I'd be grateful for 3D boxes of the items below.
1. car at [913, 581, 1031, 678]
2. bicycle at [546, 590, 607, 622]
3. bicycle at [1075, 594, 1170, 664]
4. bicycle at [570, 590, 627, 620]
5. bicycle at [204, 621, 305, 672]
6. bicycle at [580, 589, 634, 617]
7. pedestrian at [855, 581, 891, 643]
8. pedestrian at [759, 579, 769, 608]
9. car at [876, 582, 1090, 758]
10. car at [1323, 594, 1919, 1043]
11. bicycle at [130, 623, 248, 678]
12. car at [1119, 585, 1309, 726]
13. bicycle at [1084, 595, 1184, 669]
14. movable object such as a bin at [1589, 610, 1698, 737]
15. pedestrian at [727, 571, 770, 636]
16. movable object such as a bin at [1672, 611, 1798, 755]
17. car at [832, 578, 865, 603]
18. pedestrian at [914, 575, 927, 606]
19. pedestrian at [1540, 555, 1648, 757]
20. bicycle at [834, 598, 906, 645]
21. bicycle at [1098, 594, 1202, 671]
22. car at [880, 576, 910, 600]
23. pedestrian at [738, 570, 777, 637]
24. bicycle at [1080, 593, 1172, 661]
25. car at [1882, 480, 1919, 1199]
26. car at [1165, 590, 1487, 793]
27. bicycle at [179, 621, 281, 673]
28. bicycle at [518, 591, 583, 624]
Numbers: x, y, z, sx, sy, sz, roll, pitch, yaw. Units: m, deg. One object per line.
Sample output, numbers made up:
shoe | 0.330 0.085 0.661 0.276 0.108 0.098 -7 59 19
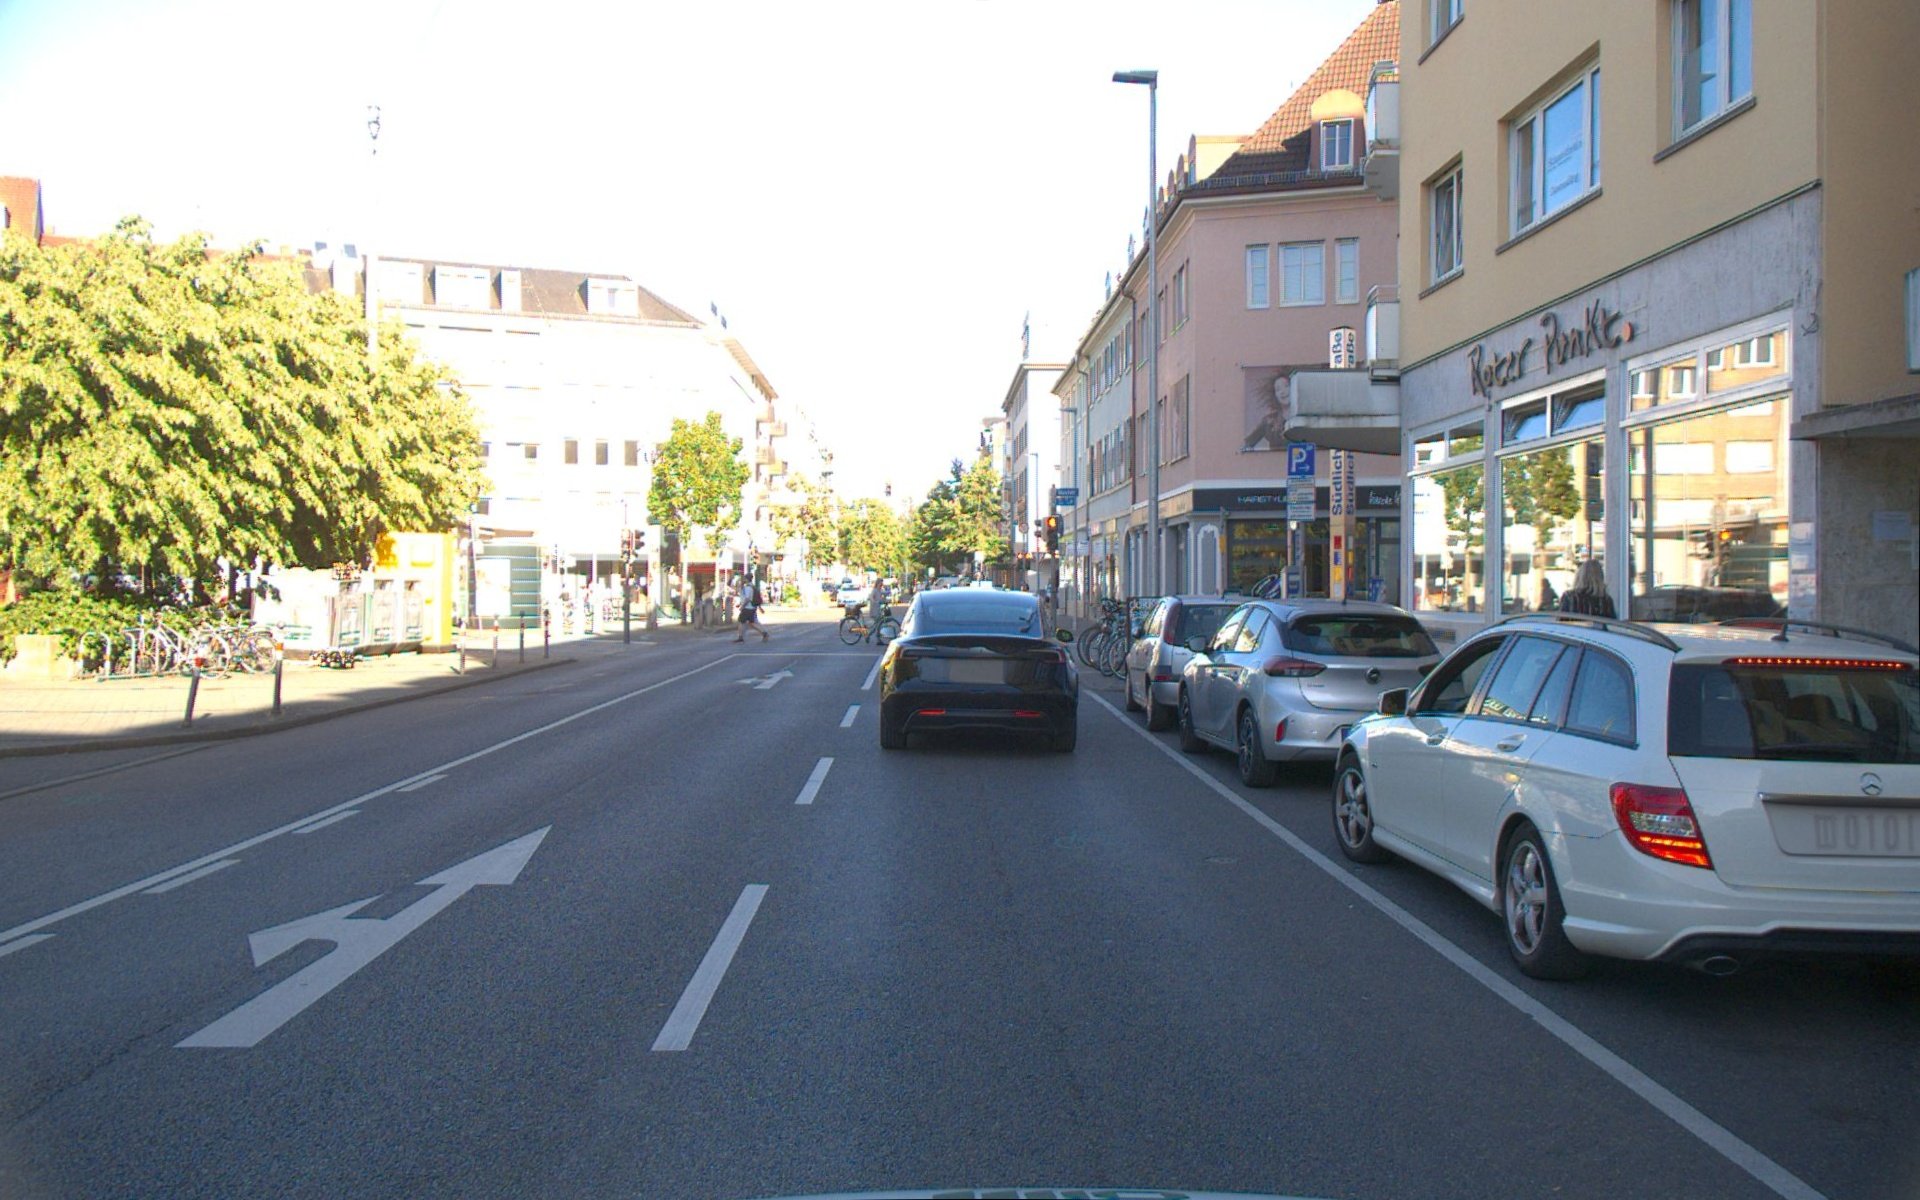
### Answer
car | 0.201 0.438 27.448 1.812 1.480 3.786 1 1 0
bicycle | -13.984 0.215 60.298 2.040 1.123 0.806 1 0 -1
bicycle | 2.836 0.503 28.931 1.595 1.180 0.432 -1 0 -2
bicycle | -14.217 0.187 65.071 2.040 1.123 0.806 1 0 -1
bicycle | -11.529 0.755 27.051 1.442 0.782 0.475 1 0 2
bicycle | -14.344 0.124 67.263 2.040 1.123 0.806 1 0 -1
pedestrian | -2.067 0.289 39.487 0.727 1.465 0.583 1 0 9
pedestrian | -13.804 -0.467 116.608 0.613 2.049 0.707 1 0 -1
car | 0.209 0.579 15.998 1.812 1.480 3.786 1 1 0
car | 3.112 0.732 7.810 1.703 1.472 4.463 1 1 -1
bicycle | -11.695 0.766 25.097 1.621 0.782 0.475 1 0 8
car | 2.786 0.553 18.852 1.588 1.419 3.886 1 1 0
bicycle | 2.907 0.532 27.689 1.595 1.180 0.432 -1 0 -2
movable object such as a bin | 6.176 0.651 14.967 0.688 1.086 0.619 -3 1 -1
pedestrian | -5.482 0.084 42.946 0.965 1.665 0.737 1 0 3
movable object such as a bin | 6.226 0.658 13.314 0.688 1.086 0.619 -3 1 -1
car | -7.498 -0.638 111.463 1.953 1.567 4.000 -3 1 0
pedestrian | -2.595 -0.622 108.666 0.614 2.049 0.559 1 0 24
pedestrian | 5.375 0.465 14.048 0.648 1.661 0.628 -2 0 4
bicycle | -2.114 0.500 39.015 1.581 1.063 0.591 1 0 8
bicycle | 3.040 0.519 26.515 1.595 1.180 0.432 -1 0 -2
car | -4.860 -0.890 124.000 2.008 1.757 4.654 1 1 0
pedestrian | -5.369 0.093 43.841 0.882 1.755 0.744 1 0 3
bicycle | 3.002 0.480 29.982 1.594 1.180 0.433 -1 0 0
car | 3.167 0.648 1.624 1.720 1.767 4.569 1 1 -4
car | 2.931 0.656 14.104 1.637 1.452 4.075 1 1 -3
bicycle | -11.694 0.744 26.499 1.442 0.782 0.441 1 0 4
bicycle | -14.296 0.247 57.776 2.040 1.123 0.806 1 0 -1
